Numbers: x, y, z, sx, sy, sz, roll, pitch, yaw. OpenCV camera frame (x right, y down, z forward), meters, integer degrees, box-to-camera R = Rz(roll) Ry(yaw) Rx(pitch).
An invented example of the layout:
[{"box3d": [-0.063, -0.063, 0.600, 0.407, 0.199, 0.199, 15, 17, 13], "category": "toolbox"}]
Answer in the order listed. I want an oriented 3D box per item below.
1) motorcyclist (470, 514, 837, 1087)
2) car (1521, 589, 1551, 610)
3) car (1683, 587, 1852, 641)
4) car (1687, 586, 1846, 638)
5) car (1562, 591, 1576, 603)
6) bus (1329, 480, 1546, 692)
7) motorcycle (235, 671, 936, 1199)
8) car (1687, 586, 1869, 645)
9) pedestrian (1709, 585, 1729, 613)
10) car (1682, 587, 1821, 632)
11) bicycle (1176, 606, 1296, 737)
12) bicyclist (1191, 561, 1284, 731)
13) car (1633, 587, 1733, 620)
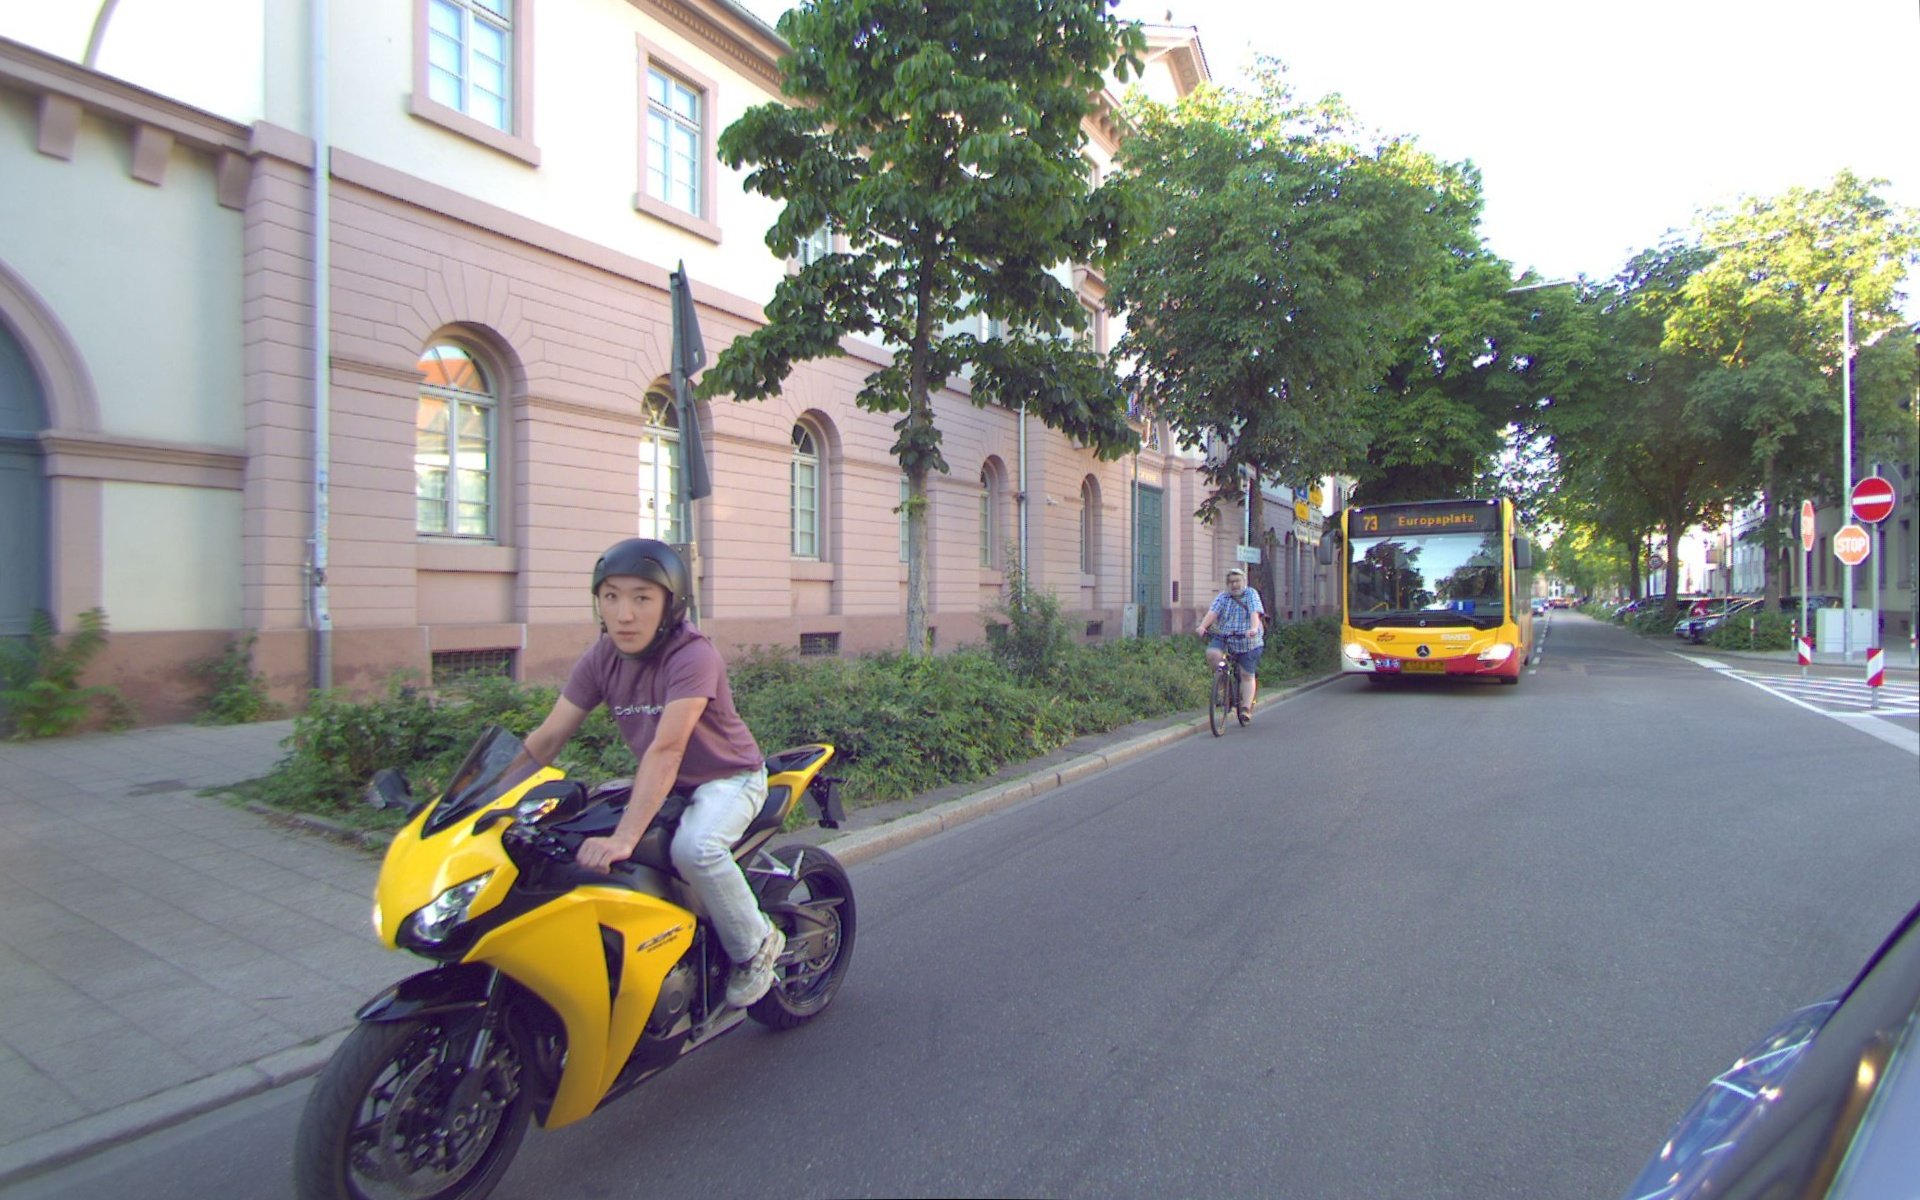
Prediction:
[{"box3d": [-0.903, 0.507, 3.041, 0.786, 1.438, 0.692, -2, -1, 28], "category": "motorcyclist"}, {"box3d": [48.611, -0.091, 85.338, 2.067, 1.719, 3.954, 0, 0, 32], "category": "car"}, {"box3d": [25.609, 0.403, 32.276, 3.966, 1.635, 1.705, 0, 0, 30], "category": "car"}, {"box3d": [27.099, 0.372, 34.178, 3.966, 1.635, 1.705, 0, 0, 30], "category": "car"}, {"box3d": [89.879, -0.420, 149.338, 1.814, 1.719, 3.955, 0, 0, 32], "category": "car"}, {"box3d": [10.062, -0.207, 20.335, 2.691, 3.039, 11.948, -2, -1, 31], "category": "bus"}, {"box3d": [-0.895, 0.872, 3.039, 0.786, 1.175, 1.948, -2, -1, 28], "category": "motorcycle"}, {"box3d": [24.310, 0.418, 30.283, 3.966, 1.635, 1.809, 0, 0, 30], "category": "car"}, {"box3d": [48.136, -0.080, 64.201, 0.887, 1.793, 1.010, 0, 0, 30], "category": "pedestrian"}, {"box3d": [30.442, 0.334, 39.077, 3.966, 1.635, 1.705, 0, 0, 30], "category": "car"}, {"box3d": [3.212, 0.762, 11.645, 0.777, 1.347, 2.055, -2, -1, 31], "category": "bicycle"}, {"box3d": [3.195, 0.508, 11.632, 0.777, 1.863, 0.817, -2, -1, 31], "category": "bicyclist"}, {"box3d": [36.722, 0.162, 51.502, 3.966, 1.635, 1.705, 0, 0, 30], "category": "car"}]
